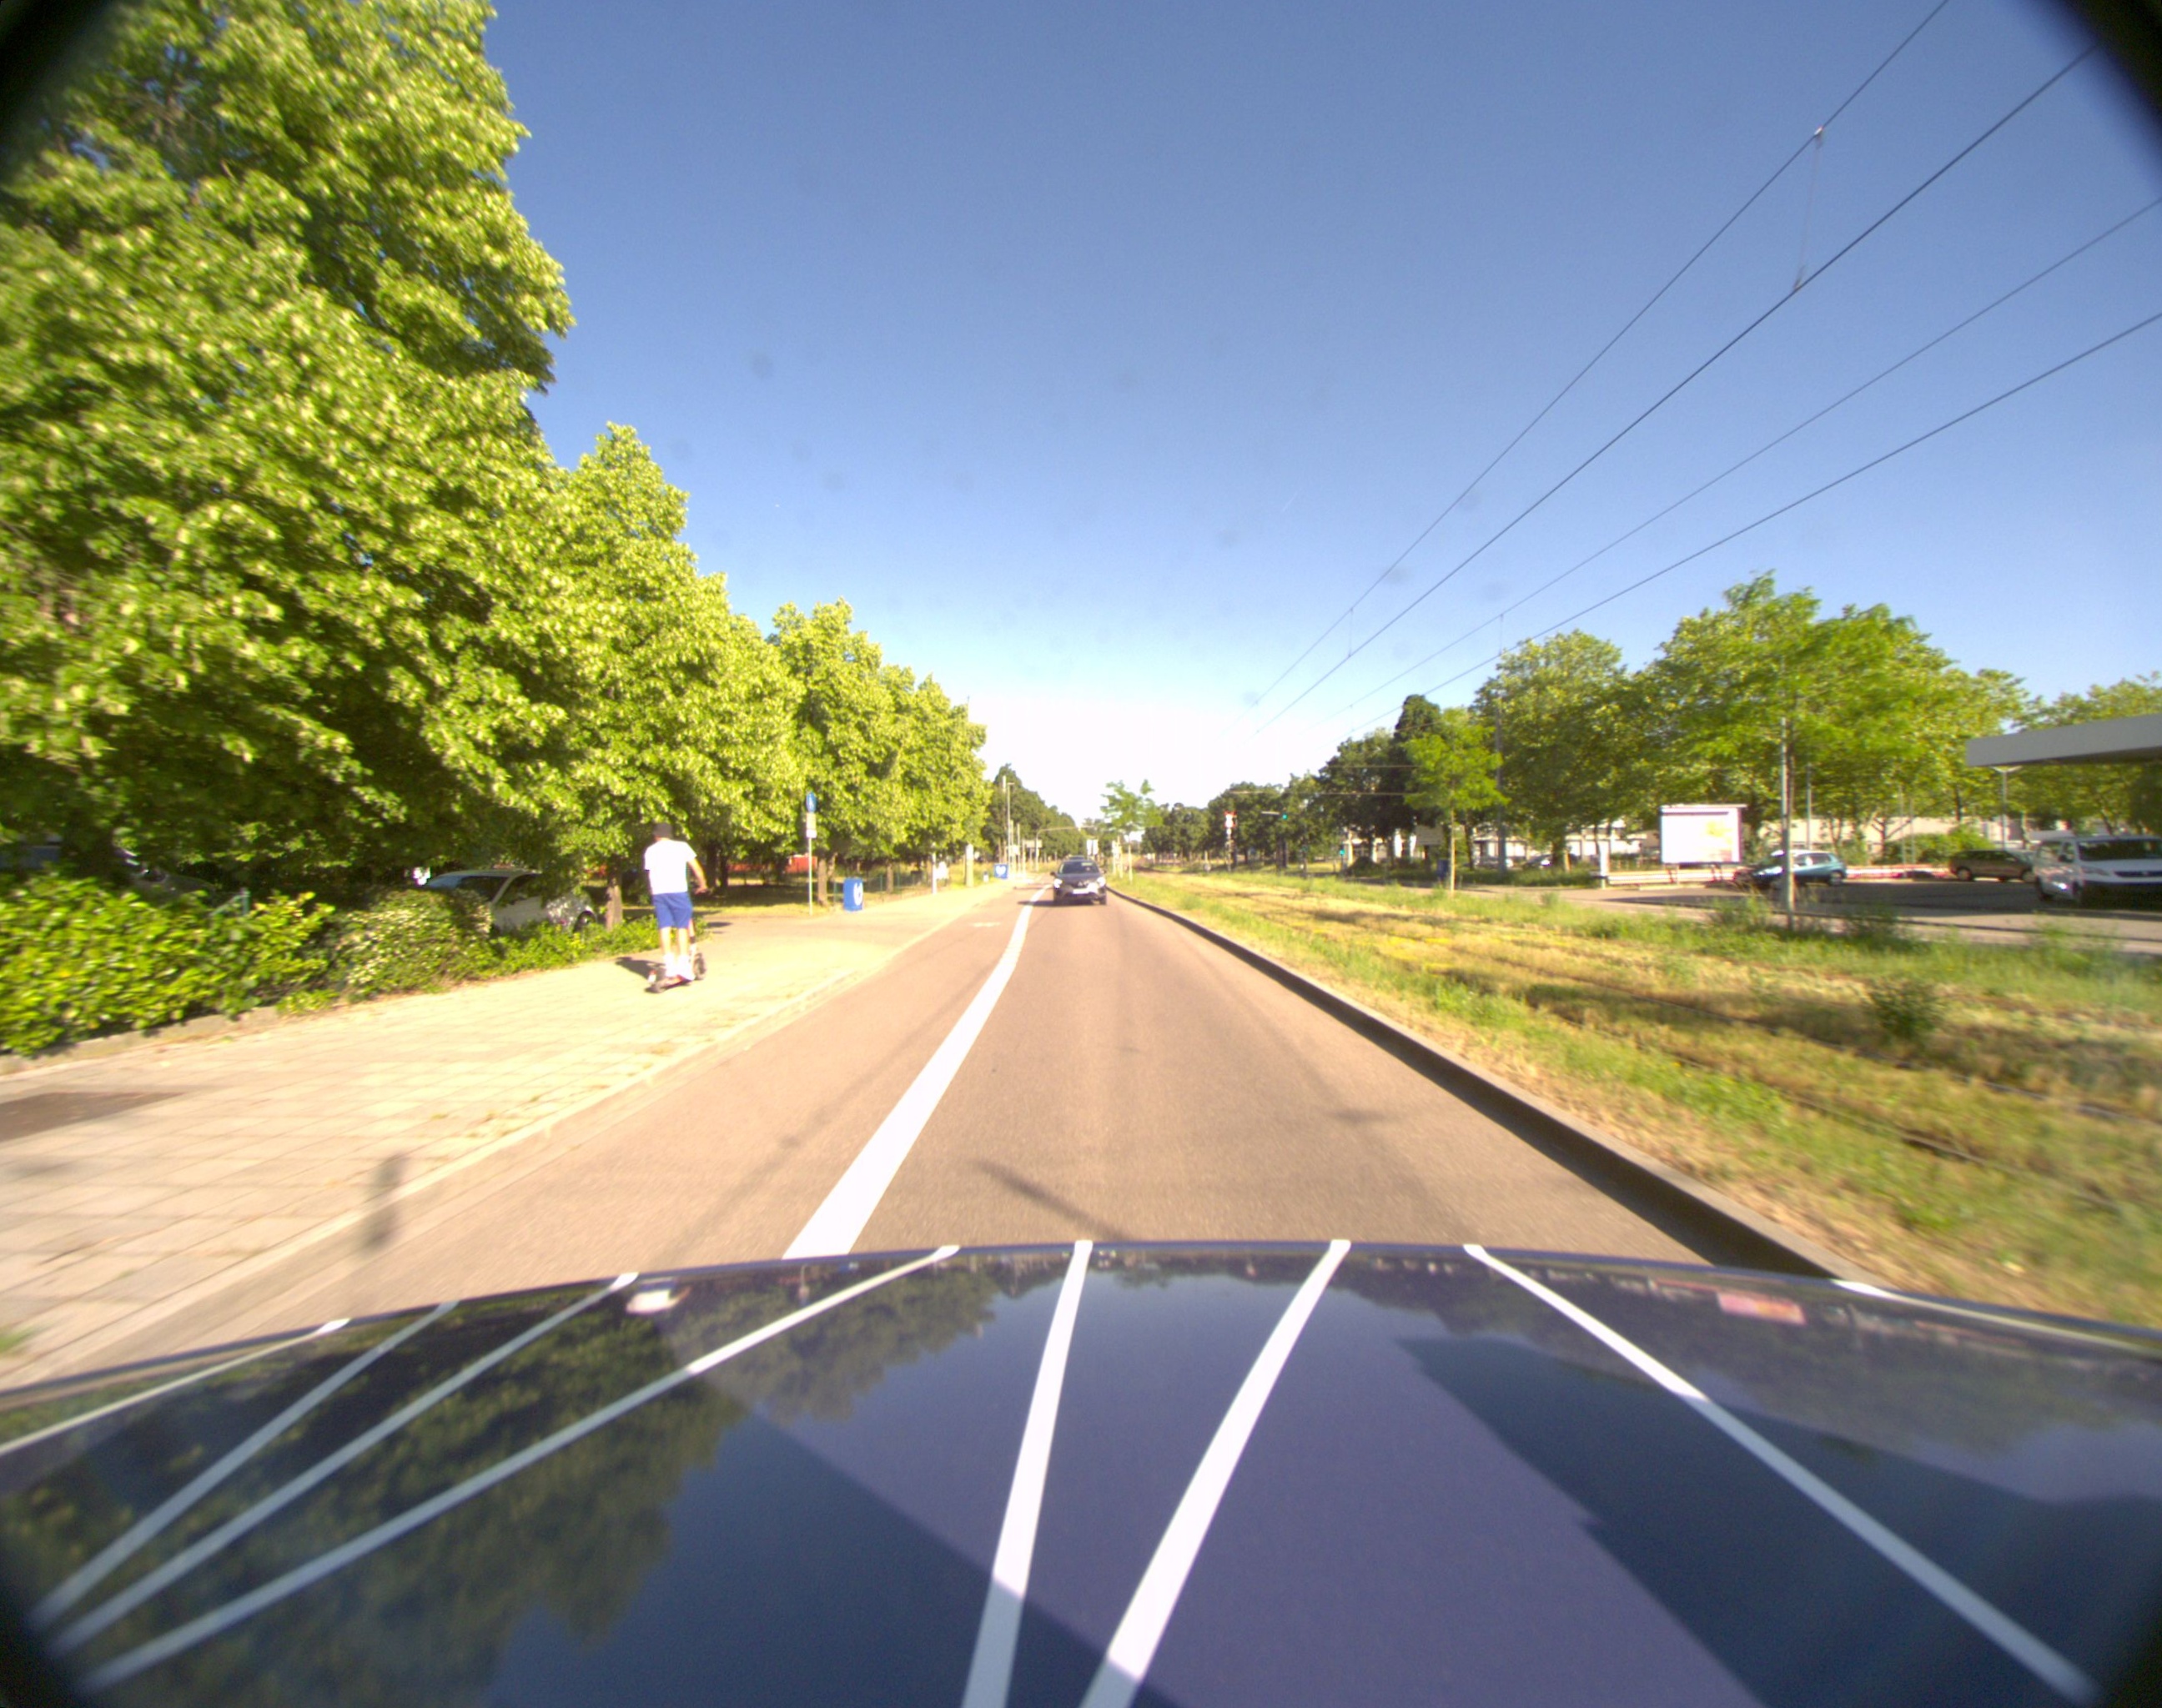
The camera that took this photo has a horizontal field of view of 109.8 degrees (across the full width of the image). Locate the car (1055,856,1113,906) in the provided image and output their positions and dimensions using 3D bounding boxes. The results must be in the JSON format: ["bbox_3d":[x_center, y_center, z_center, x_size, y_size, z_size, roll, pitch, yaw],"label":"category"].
[{"bbox_3d":[0.089,0.896,27.036,1.867,1.614,4.000,-2,0,-1],"label":"car"}]

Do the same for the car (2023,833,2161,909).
[{"bbox_3d":[28.332,0.435,21.081,1.893,1.899,4.821,-2,-1,41],"label":"car"}]

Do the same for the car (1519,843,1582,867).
[{"bbox_3d":[39.959,0.096,64.714,4.051,1.816,1.999,-2,1,-2],"label":"car"}]

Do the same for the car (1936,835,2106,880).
[{"bbox_3d":[40.541,0.159,32.977,1.998,1.809,4.529,0,0,5],"label":"car"}]

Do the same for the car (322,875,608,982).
[{"bbox_3d":[-9.687,1.072,12.426,1.466,1.353,4.052,0,0,-2],"label":"car"}]

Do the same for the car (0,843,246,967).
[{"bbox_3d":[-17.662,0.795,12.676,1.877,1.927,4.959,0,0,2],"label":"car"}]

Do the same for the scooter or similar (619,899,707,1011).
[{"bbox_3d":[-4.822,1.130,8.821,0.349,1.130,1.208,0,0,0],"label":"scooter or similar"}]

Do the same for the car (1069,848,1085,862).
[{"bbox_3d":[-0.507,0.110,107.751,1.998,1.824,4.000,-2,1,2],"label":"car"}]

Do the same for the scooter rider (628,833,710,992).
[{"bbox_3d":[-4.759,0.657,8.806,0.552,1.756,0.599,-2,0,-1],"label":"scooter rider"}]

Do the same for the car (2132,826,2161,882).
[{"bbox_3d":[40.383,-0.005,26.746,4.609,1.975,1.890,0,0,-6],"label":"car"}]

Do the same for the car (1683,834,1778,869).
[{"bbox_3d":[39.585,-0.150,46.365,4.051,1.851,2.000,-3,0,-2],"label":"car"}]

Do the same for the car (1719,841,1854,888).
[{"bbox_3d":[31.487,0.467,34.024,3.996,1.846,2.001,-3,0,3],"label":"car"}]
